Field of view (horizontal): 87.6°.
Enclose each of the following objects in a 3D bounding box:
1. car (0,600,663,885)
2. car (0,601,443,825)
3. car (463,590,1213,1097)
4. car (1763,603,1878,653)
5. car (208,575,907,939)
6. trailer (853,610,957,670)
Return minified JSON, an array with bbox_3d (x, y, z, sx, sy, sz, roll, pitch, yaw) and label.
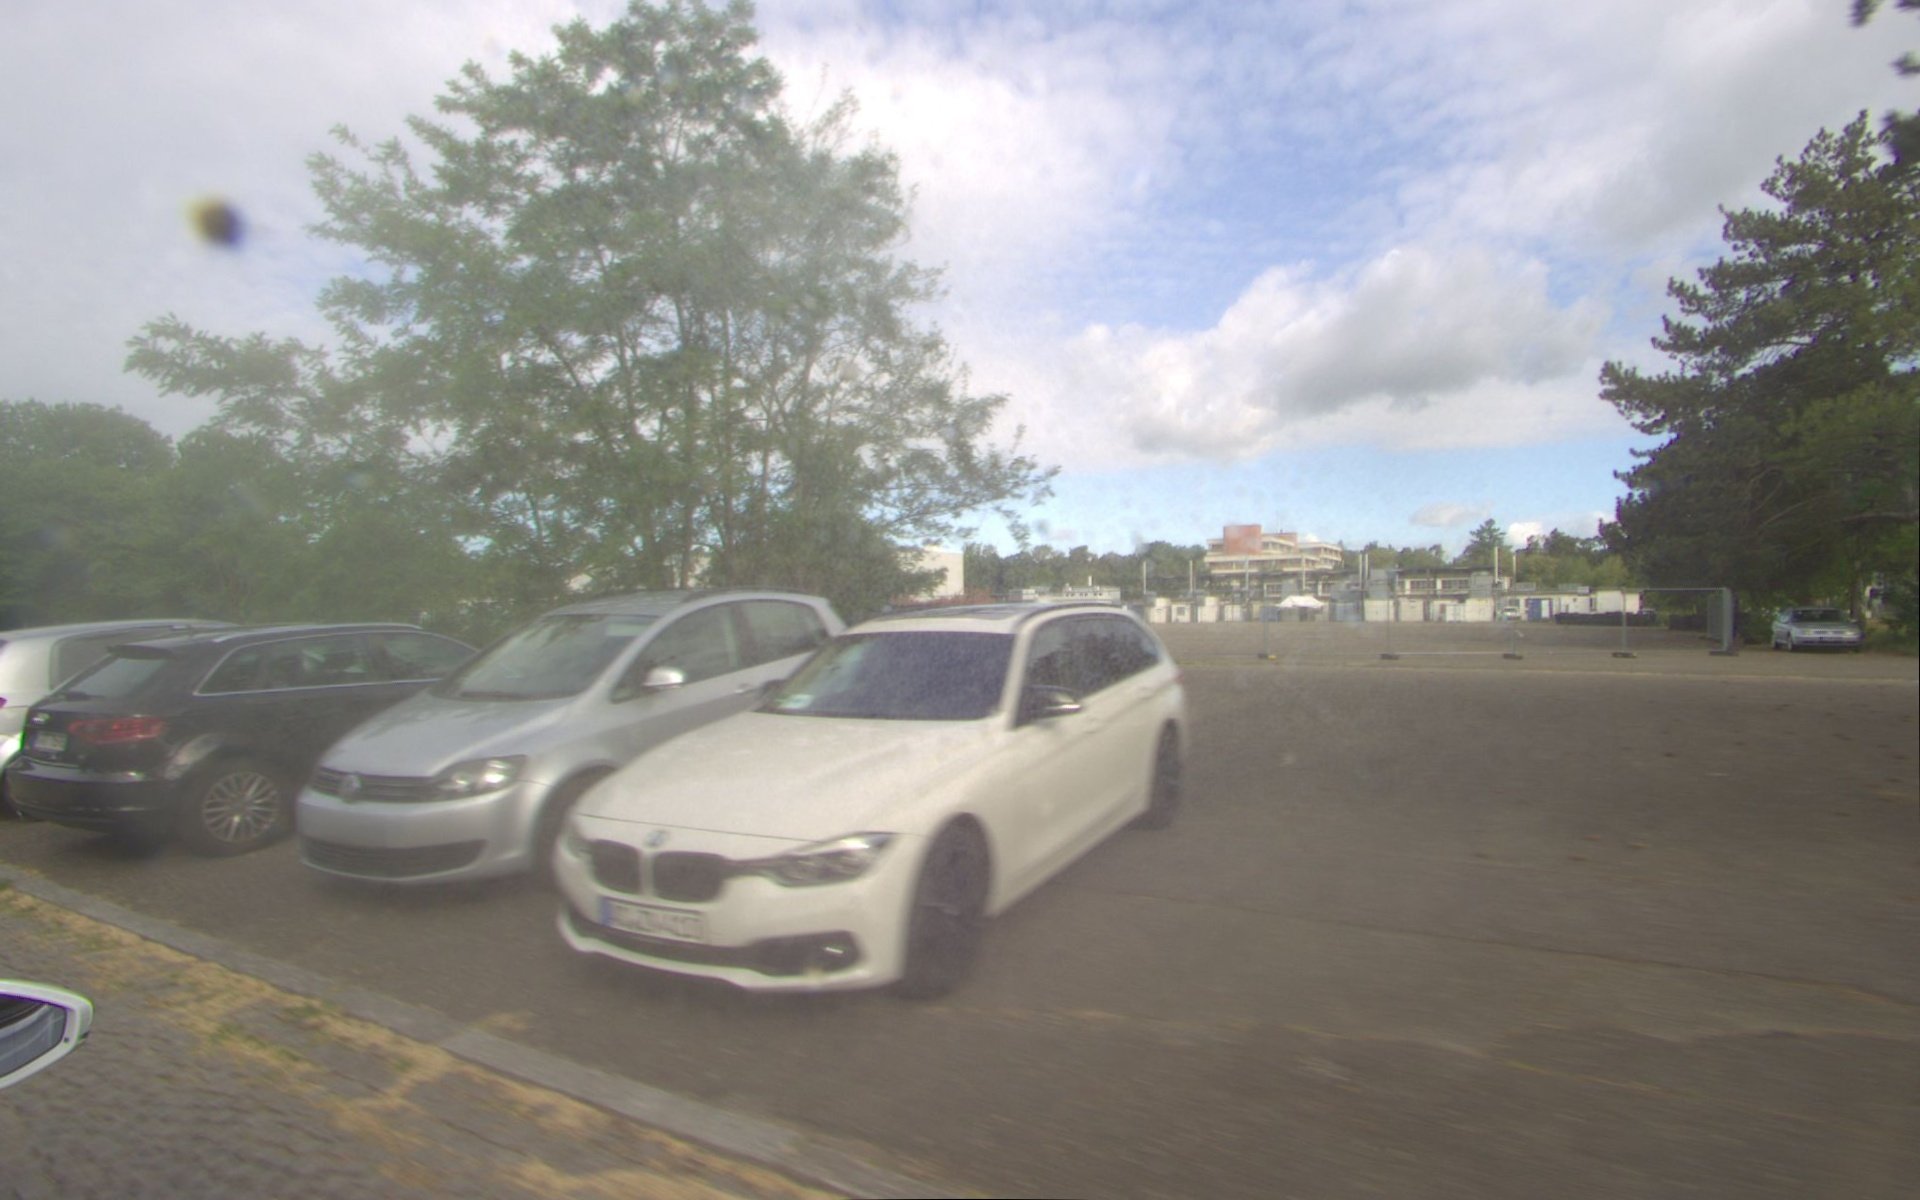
[{"bbox_3d":[-4.665,0.814,8.003,1.769,1.425,4.357,0,3,30],"label":"car"},{"bbox_3d":[-7.062,0.840,9.187,1.716,1.500,3.765,0,3,29],"label":"car"},{"bbox_3d":[-0.083,0.766,5.555,1.799,1.445,4.542,-1,2,28],"label":"car"},{"bbox_3d":[27.522,0.857,32.175,1.835,1.494,4.135,0,0,27],"label":"car"},{"bbox_3d":[-2.232,0.693,6.910,1.798,1.596,4.325,-1,2,26],"label":"car"},{"bbox_3d":[-1.130,0.832,21.182,1.127,1.185,2.310,-1,-2,30],"label":"trailer"}]
